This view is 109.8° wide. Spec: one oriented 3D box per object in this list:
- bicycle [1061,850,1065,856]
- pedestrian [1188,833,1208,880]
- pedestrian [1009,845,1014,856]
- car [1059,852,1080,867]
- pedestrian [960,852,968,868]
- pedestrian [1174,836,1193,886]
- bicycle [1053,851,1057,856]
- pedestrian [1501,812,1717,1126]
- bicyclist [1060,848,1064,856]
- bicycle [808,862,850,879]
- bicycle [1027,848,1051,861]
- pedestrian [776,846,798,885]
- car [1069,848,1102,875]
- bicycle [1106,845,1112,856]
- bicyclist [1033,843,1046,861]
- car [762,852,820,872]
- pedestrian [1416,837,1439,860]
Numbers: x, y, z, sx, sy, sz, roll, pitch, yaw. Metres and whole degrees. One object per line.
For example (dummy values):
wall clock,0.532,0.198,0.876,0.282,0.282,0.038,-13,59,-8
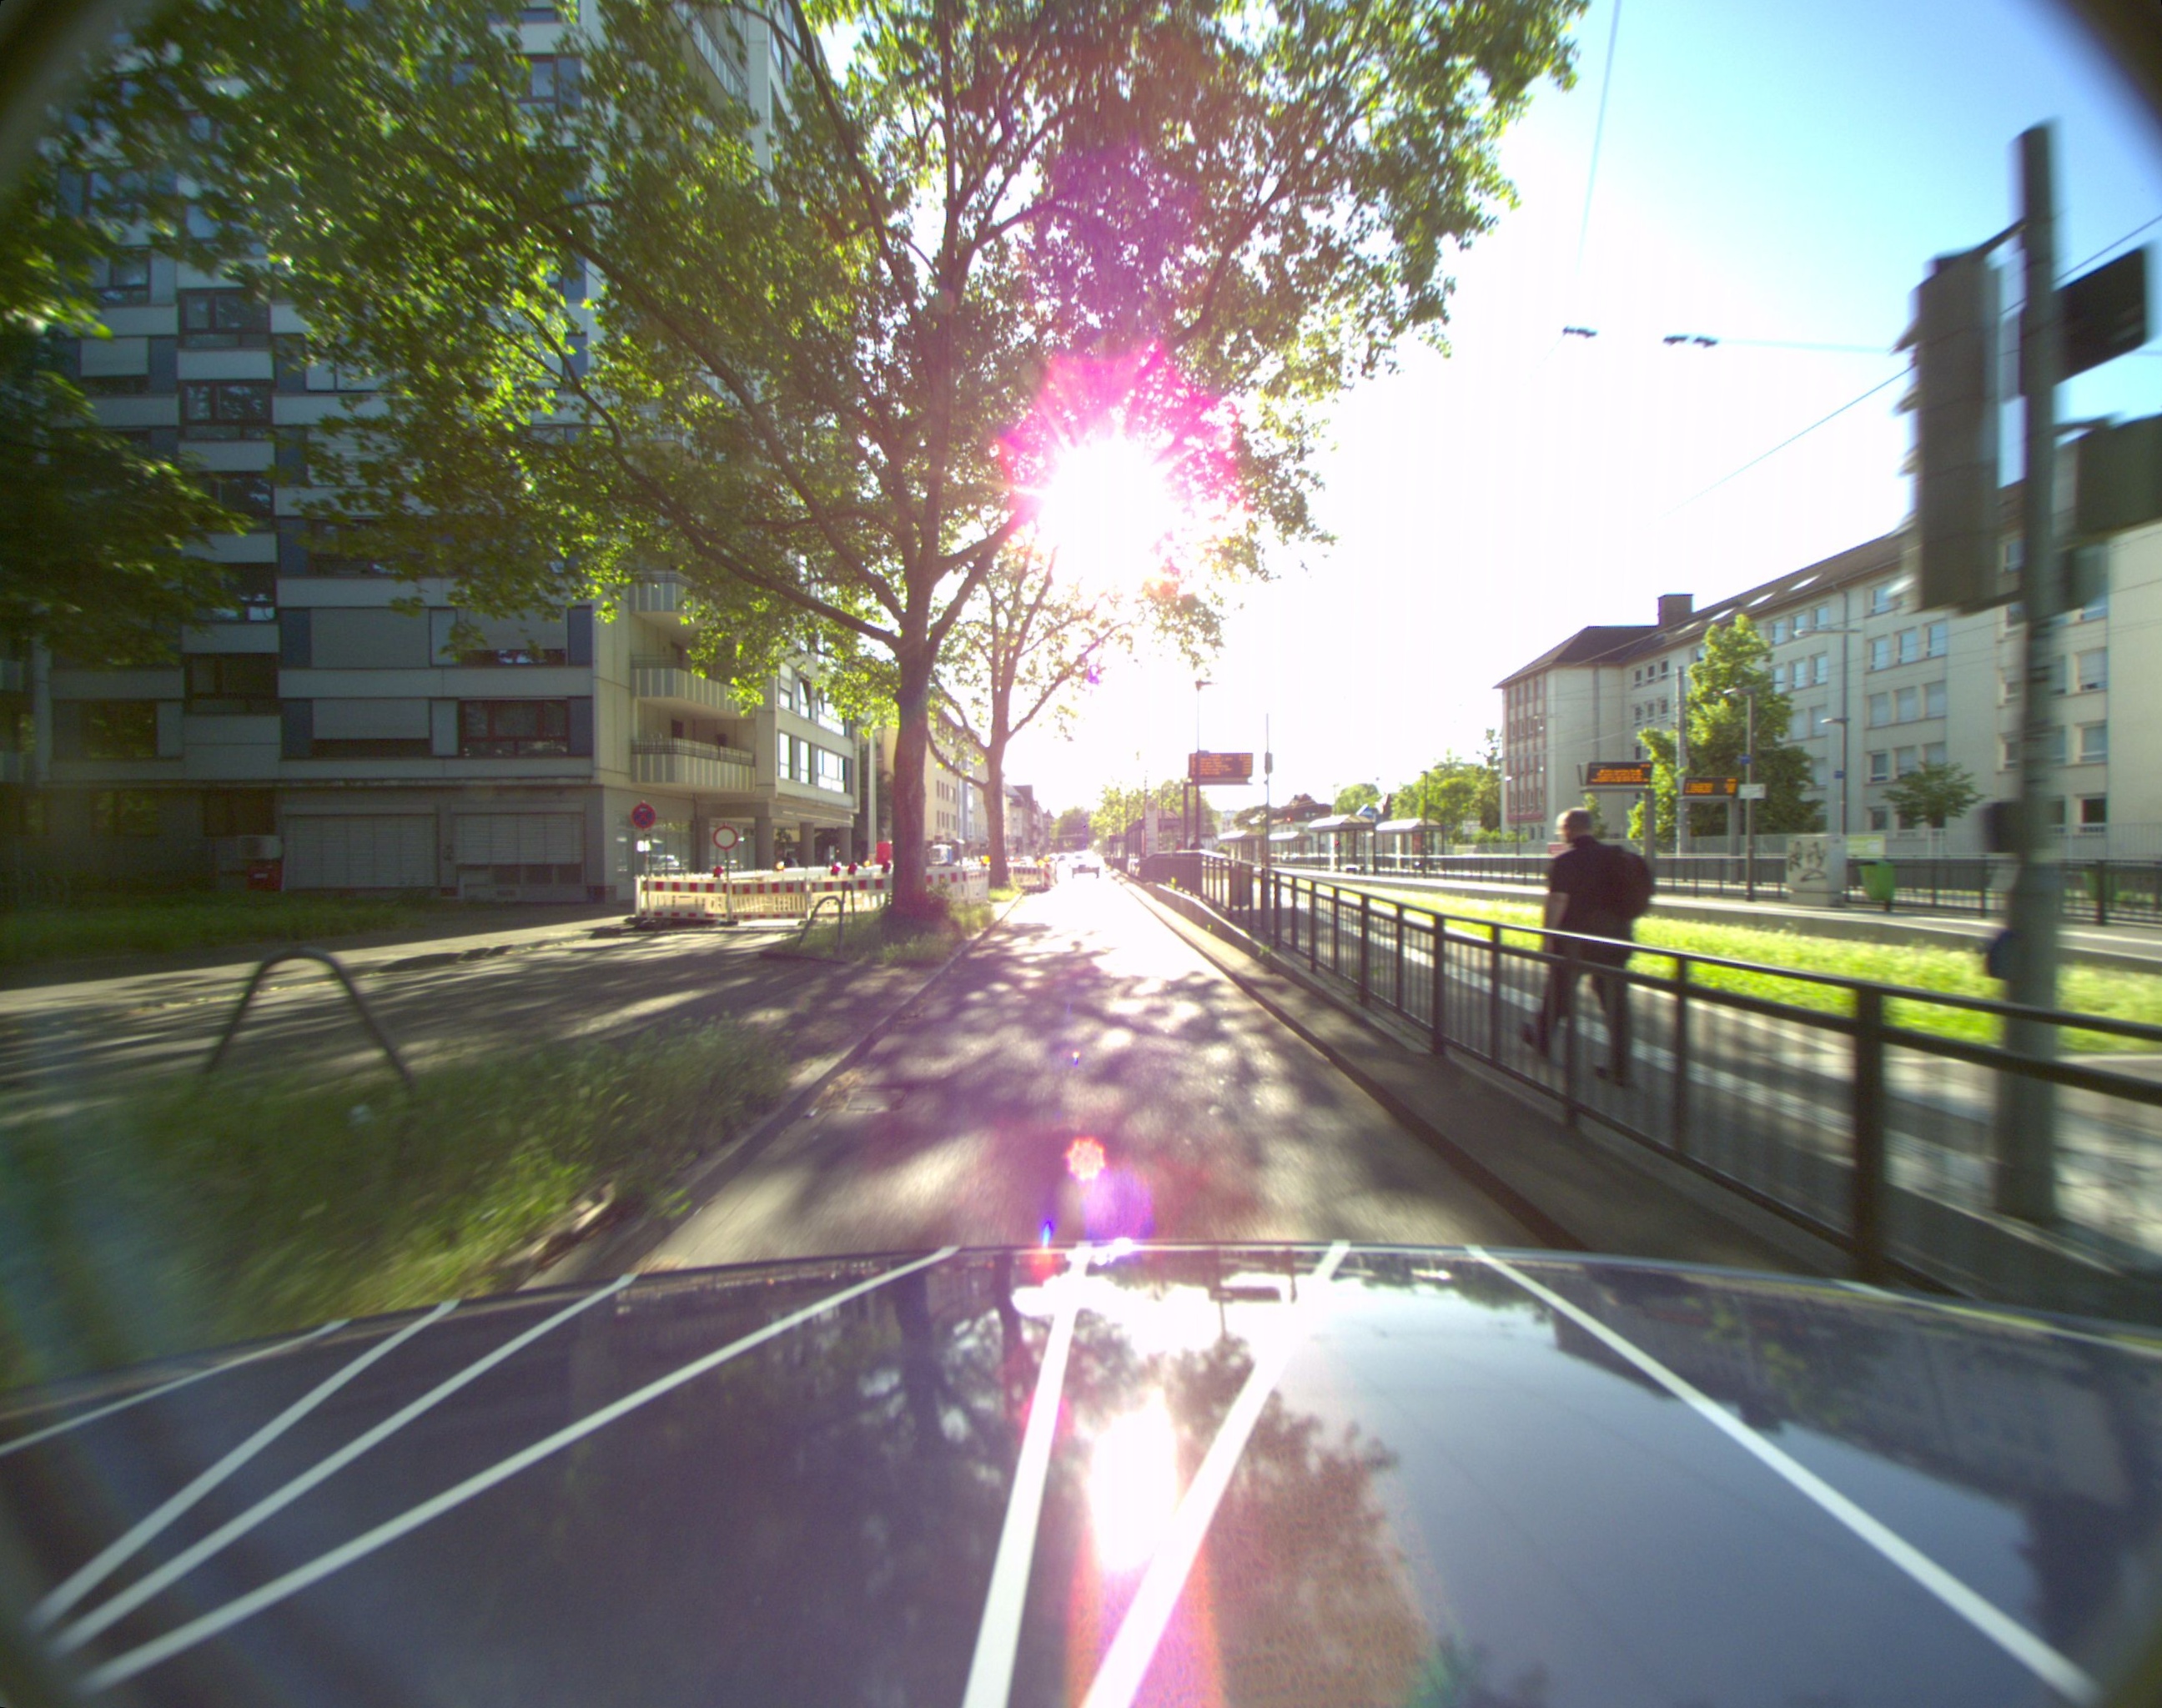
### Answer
bicycle,-3.816,-0.224,160.100,0.693,1.208,2.299,-1,1,5
pedestrian,4.566,0.088,29.693,0.683,1.773,0.754,-1,1,2
pedestrian,-11.357,-0.586,123.871,0.663,1.680,0.677,-1,1,0
car,-1.282,0.598,86.611,1.998,1.595,4.273,-1,1,4
pedestrian,-11.226,0.565,73.023,0.672,1.498,0.652,-1,1,1
pedestrian,4.194,0.277,31.173,0.669,2.002,0.716,-1,1,2
bicycle,-5.459,-0.104,160.259,0.693,1.208,2.299,-1,1,5
pedestrian,3.039,0.615,4.450,0.714,1.671,0.772,-1,1,-1
bicyclist,-4.053,-0.456,160.617,0.696,1.596,0.745,-1,1,5
bicycle,-14.301,0.944,43.183,2.030,0.938,1.019,-1,1,20
bicycle,-4.496,0.025,81.834,2.382,1.349,1.020,-1,1,-26
pedestrian,-13.878,0.532,35.876,0.691,1.805,0.665,-1,1,0
car,0.354,0.456,49.961,1.979,1.660,4.620,-2,1,2
bicycle,3.531,-0.409,95.855,0.641,1.371,2.169,-1,1,1
bicyclist,-4.493,-0.227,81.843,1.005,1.872,0.991,-1,1,-26
car,-24.122,0.652,63.259,4.238,1.632,2.003,-1,0,22
pedestrian,20.464,-0.332,44.906,0.977,1.368,0.879,-1,1,0
